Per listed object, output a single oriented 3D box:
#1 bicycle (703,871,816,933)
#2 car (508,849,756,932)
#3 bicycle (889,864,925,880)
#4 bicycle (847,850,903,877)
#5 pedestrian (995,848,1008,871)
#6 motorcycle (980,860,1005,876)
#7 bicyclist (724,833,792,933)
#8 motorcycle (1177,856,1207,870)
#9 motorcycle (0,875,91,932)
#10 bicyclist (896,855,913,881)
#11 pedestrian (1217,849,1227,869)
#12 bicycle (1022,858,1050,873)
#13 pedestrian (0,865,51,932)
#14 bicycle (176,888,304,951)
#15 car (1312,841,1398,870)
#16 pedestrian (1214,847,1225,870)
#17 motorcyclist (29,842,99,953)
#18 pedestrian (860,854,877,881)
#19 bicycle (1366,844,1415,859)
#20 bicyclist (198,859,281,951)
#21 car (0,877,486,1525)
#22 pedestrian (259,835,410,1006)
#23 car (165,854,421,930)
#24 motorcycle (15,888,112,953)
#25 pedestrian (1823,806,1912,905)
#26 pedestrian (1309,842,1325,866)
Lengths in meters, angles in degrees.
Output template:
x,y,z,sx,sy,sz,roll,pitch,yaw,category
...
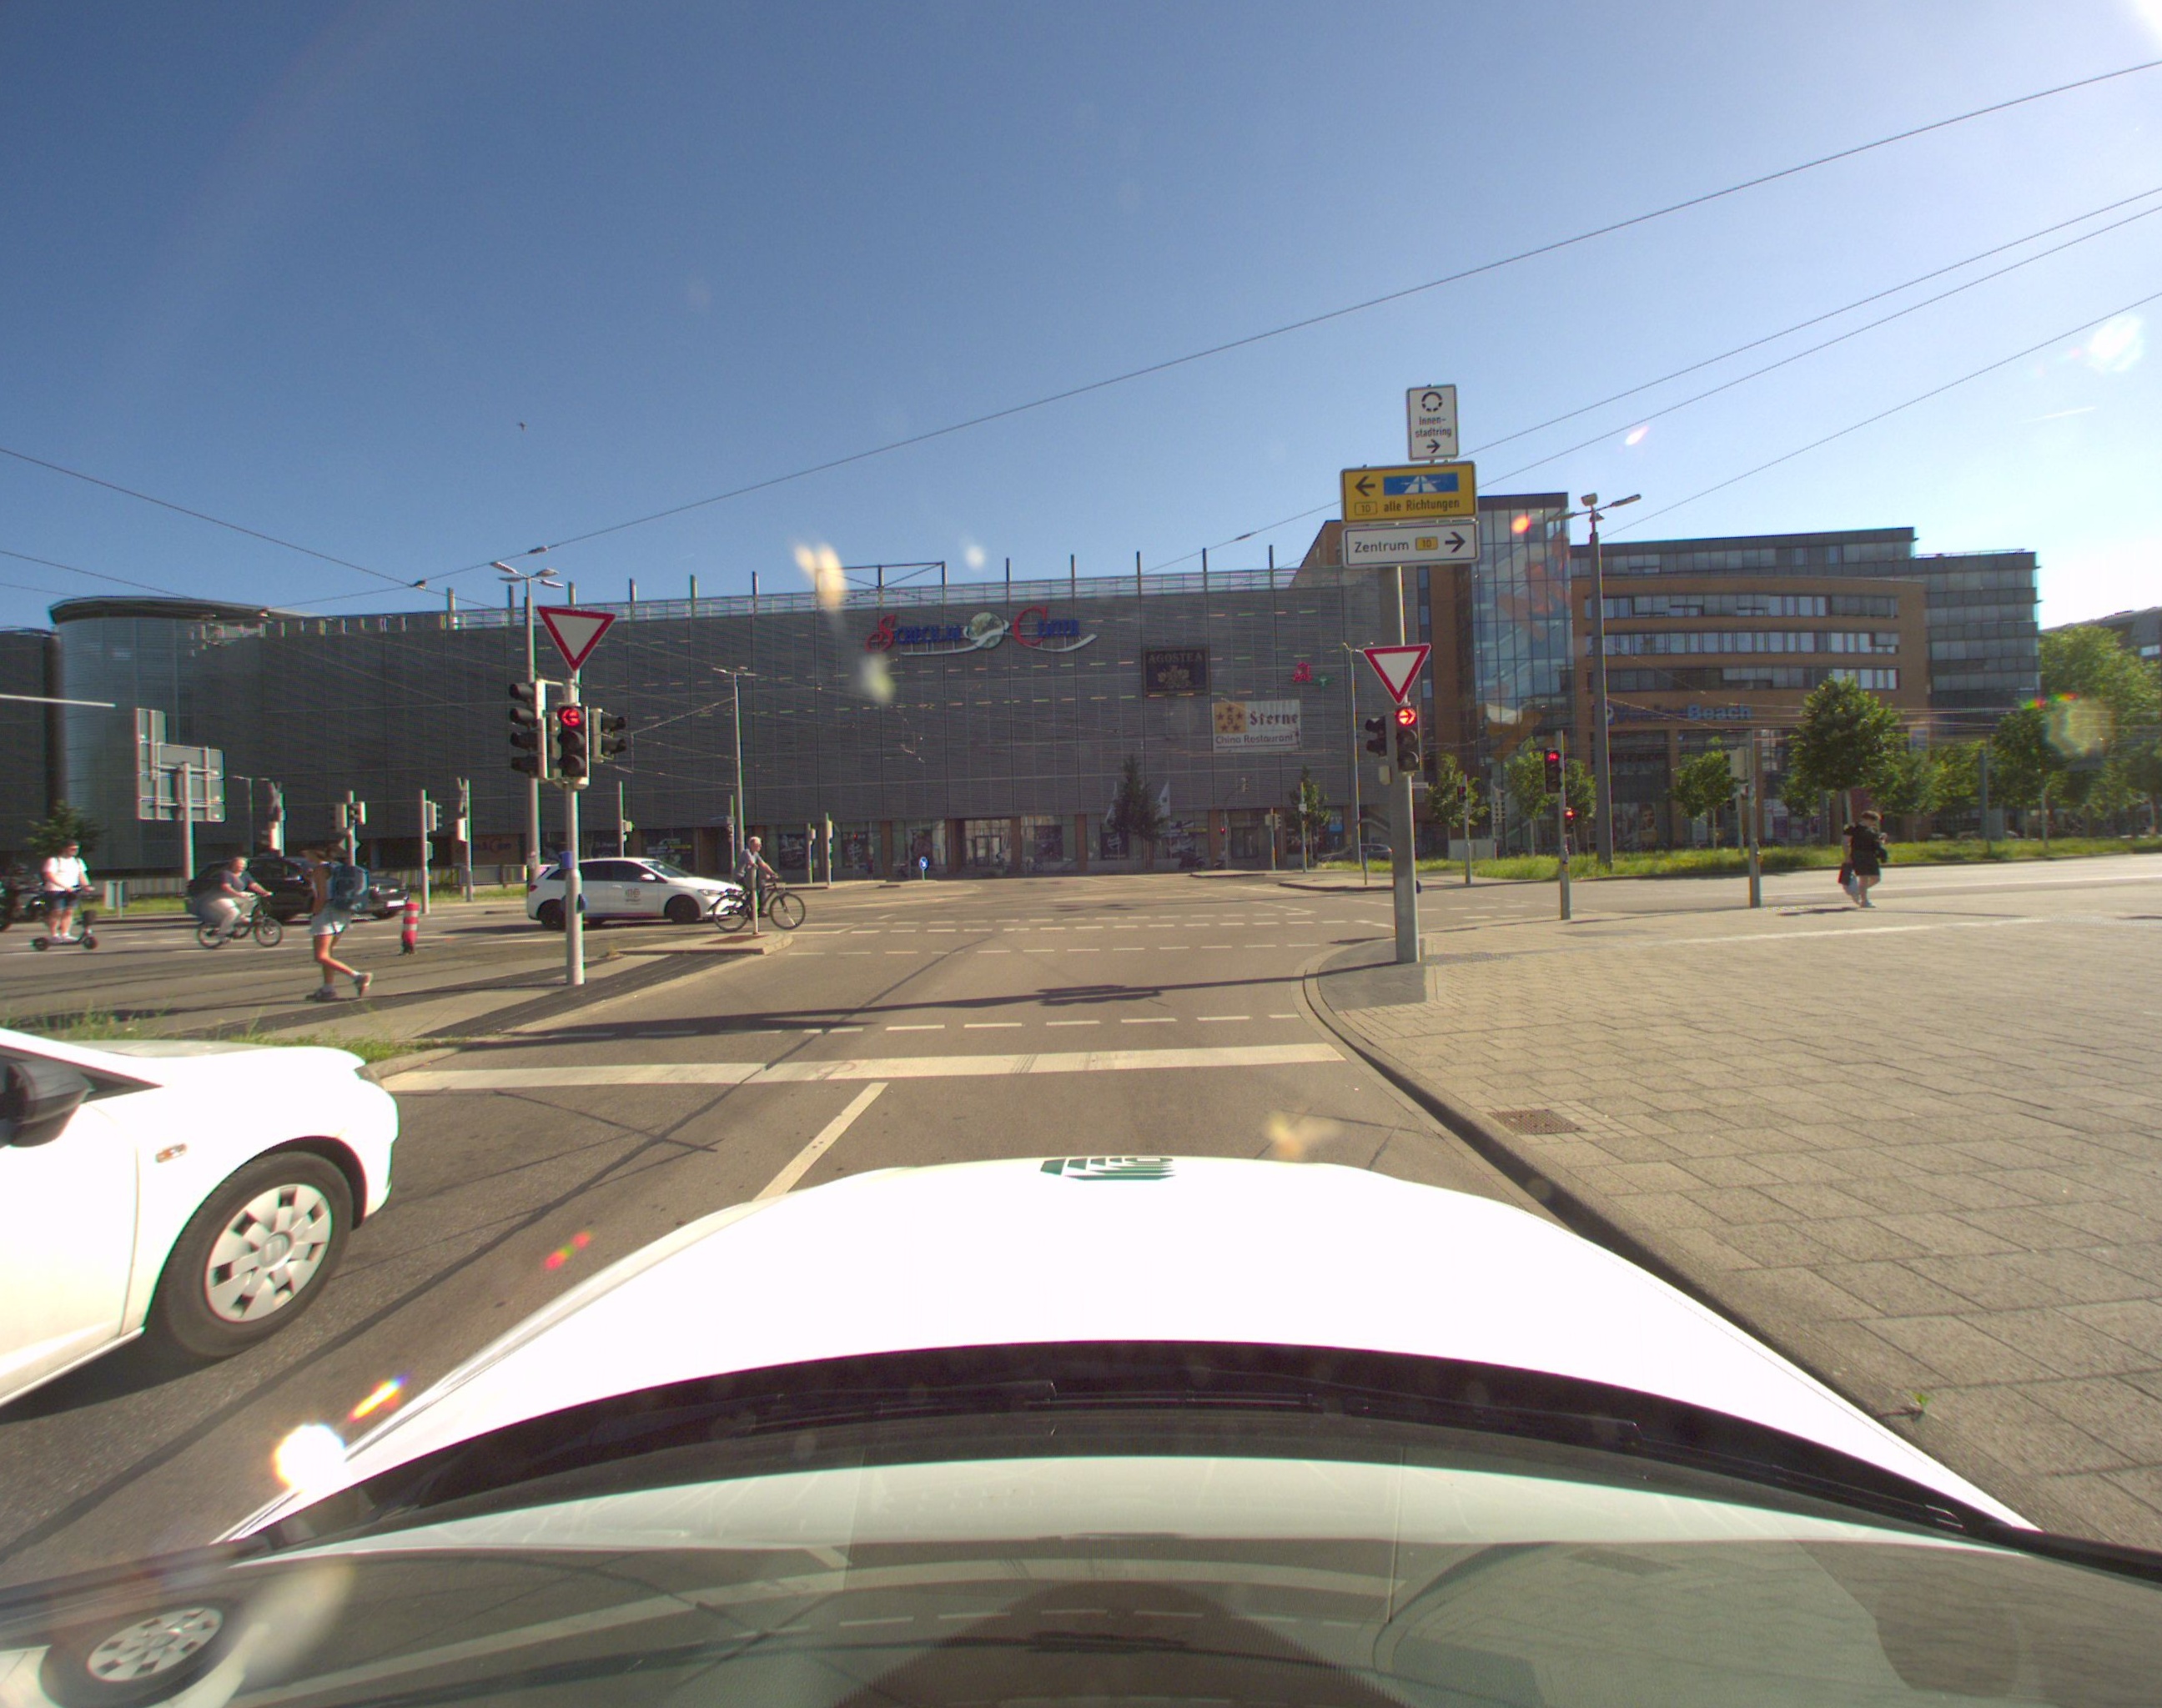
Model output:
x,y,z,sx,sy,sz,roll,pitch,yaw,category
-6.218,0.919,15.830,1.822,1.116,0.854,-2,0,2,bicycle
-9.984,0.768,18.408,4.478,1.635,1.838,-2,1,-3,car
-12.297,1.257,57.561,2.256,1.070,1.034,-2,0,-39,bicycle
-16.252,0.722,64.322,3.971,2.013,1.331,-1,0,2,bicycle
-6.157,0.436,62.971,0.845,1.763,0.620,-2,0,1,pedestrian
-6.336,0.985,58.356,1.641,1.059,0.499,-2,0,11,motorcycle
-6.270,0.554,15.840,0.898,1.859,0.855,-2,0,2,bicyclist
8.593,0.686,62.958,2.194,1.042,1.062,-1,0,2,motorcycle
-27.227,1.263,20.918,2.435,1.419,0.915,-1,0,0,motorcycle
-12.420,1.002,57.445,0.849,1.803,0.806,-1,0,-40,bicyclist
10.063,0.350,58.020,0.587,1.462,0.658,-2,0,1,pedestrian
-3.466,0.880,63.067,2.019,1.059,1.145,-2,0,1,bicycle
-27.245,1.128,20.918,0.741,1.677,0.665,-1,0,1,pedestrian
-15.597,1.209,15.133,1.571,1.107,0.734,0,0,-1,bicycle
15.989,0.096,47.618,4.470,1.495,1.495,-2,0,1,car
9.728,0.318,57.230,0.587,1.535,0.658,-2,0,1,pedestrian
-18.803,0.789,15.061,0.625,2.013,0.498,-2,0,2,motorcyclist
-15.081,0.930,57.830,0.894,1.868,0.826,-2,0,44,pedestrian
23.955,-0.175,63.057,3.342,1.077,1.119,-1,0,8,bicycle
-15.604,0.931,15.113,0.780,1.648,0.690,-2,0,0,bicyclist
-3.304,0.818,1.420,1.626,1.423,3.784,1,0,2,car
-7.827,0.672,8.575,0.882,1.707,0.713,-2,0,1,pedestrian
-20.026,0.928,20.862,4.621,1.718,1.838,-1,1,-1,car
-18.816,1.224,15.071,1.182,1.121,0.483,-2,0,1,motorcycle
14.018,0.024,14.540,0.803,1.708,0.762,-2,0,1,pedestrian
17.129,0.006,59.106,0.852,1.738,0.752,-2,0,-5,pedestrian
